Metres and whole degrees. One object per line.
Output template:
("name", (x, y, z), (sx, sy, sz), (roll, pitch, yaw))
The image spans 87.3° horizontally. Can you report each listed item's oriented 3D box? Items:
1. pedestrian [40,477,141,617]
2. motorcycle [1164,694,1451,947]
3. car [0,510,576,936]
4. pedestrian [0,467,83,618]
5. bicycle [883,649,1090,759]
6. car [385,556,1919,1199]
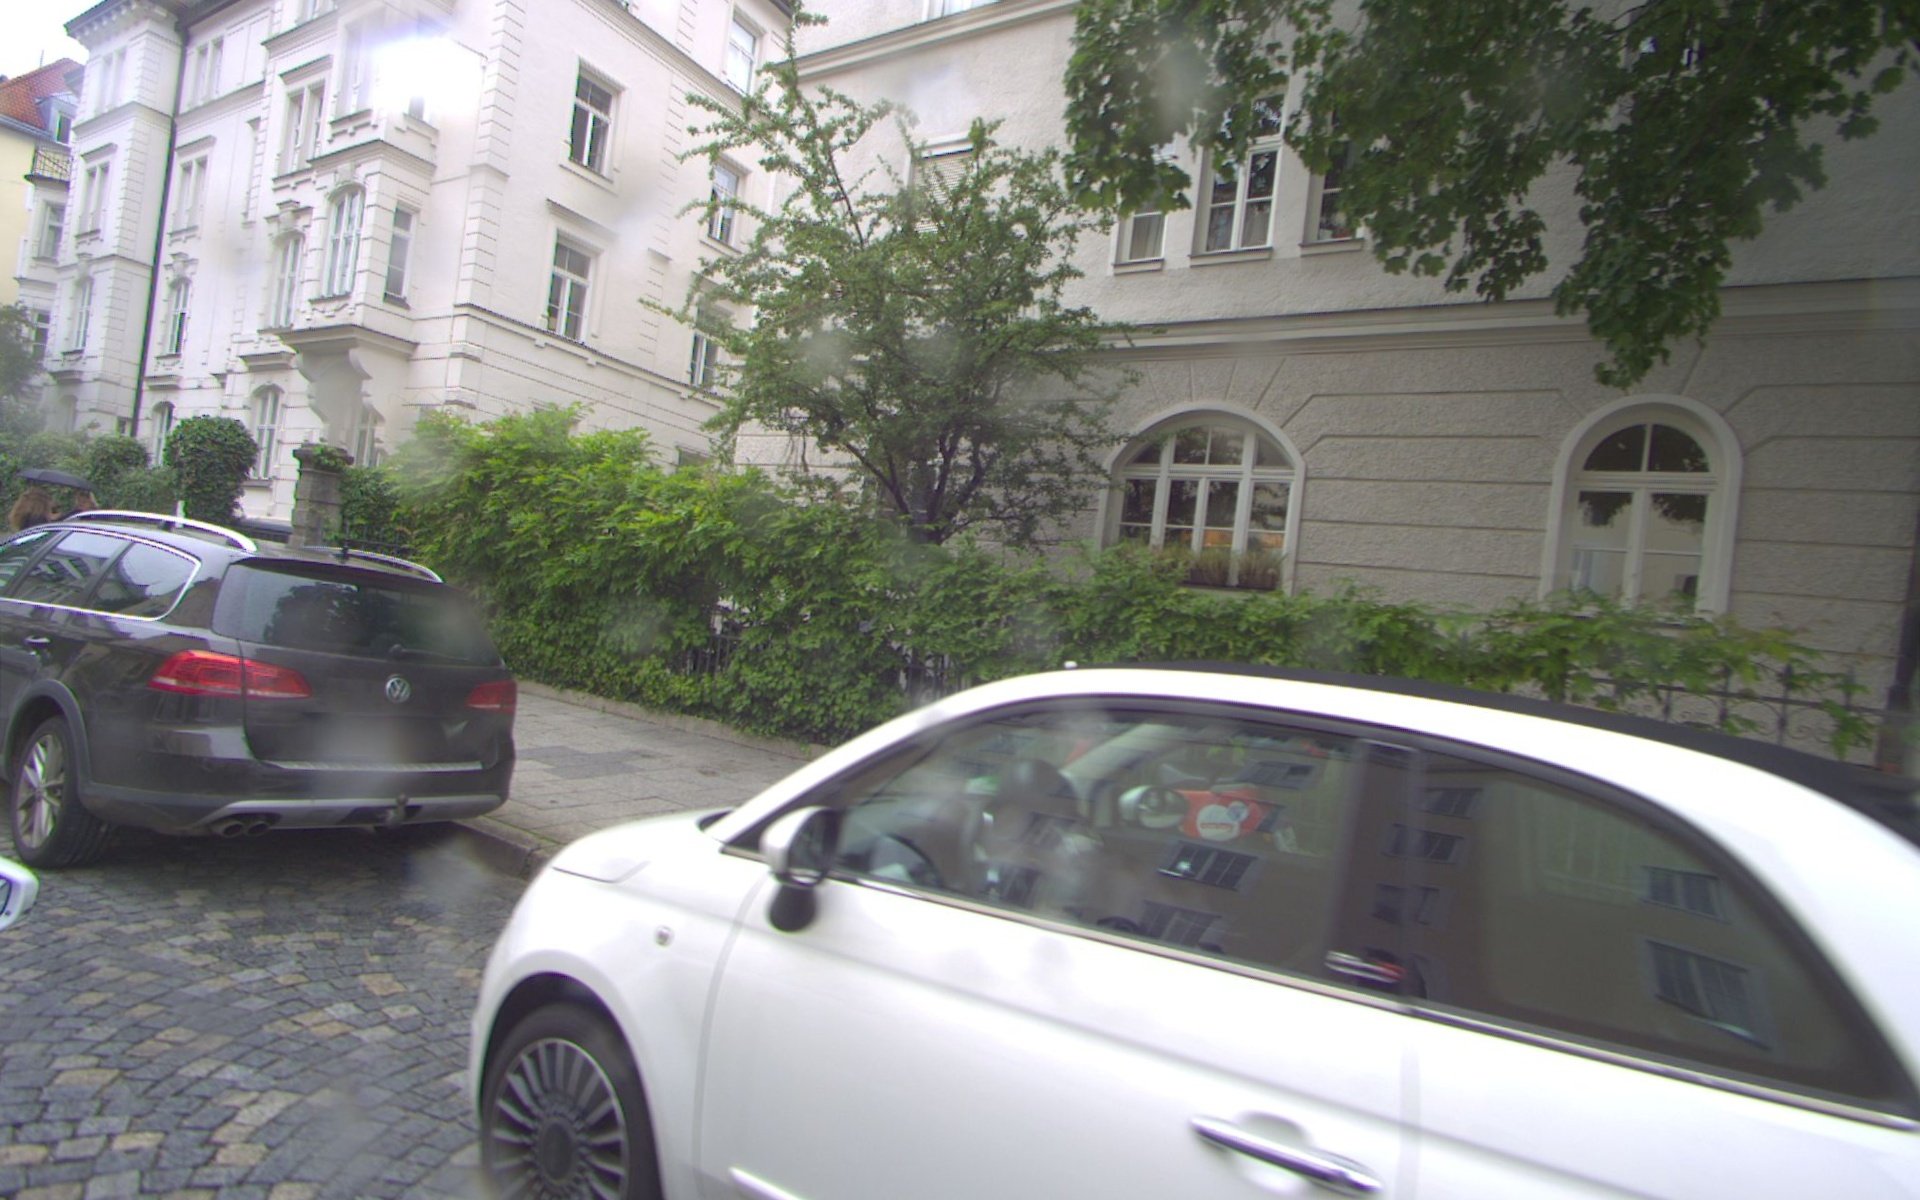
("pedestrian", (-12.114, -0.719, 14.037), (0.647, 1.830, 0.630), (7, -1, 9))
("motorcycle", (1.928, 1.181, 5.684), (1.381, 1.103, 0.362), (6, -1, 35))
("car", (-4.373, 0.387, 5.488), (4.555, 1.436, 1.653), (6, -5, 31))
("pedestrian", (-12.124, -0.755, 13.255), (0.671, 1.872, 0.576), (7, 0, 37))
("bicycle", (0.236, 1.073, 10.659), (2.239, 0.821, 0.491), (6, -1, 37))
("car", (0.630, 0.871, 2.061), (3.734, 1.488, 1.504), (6, -1, 34))
